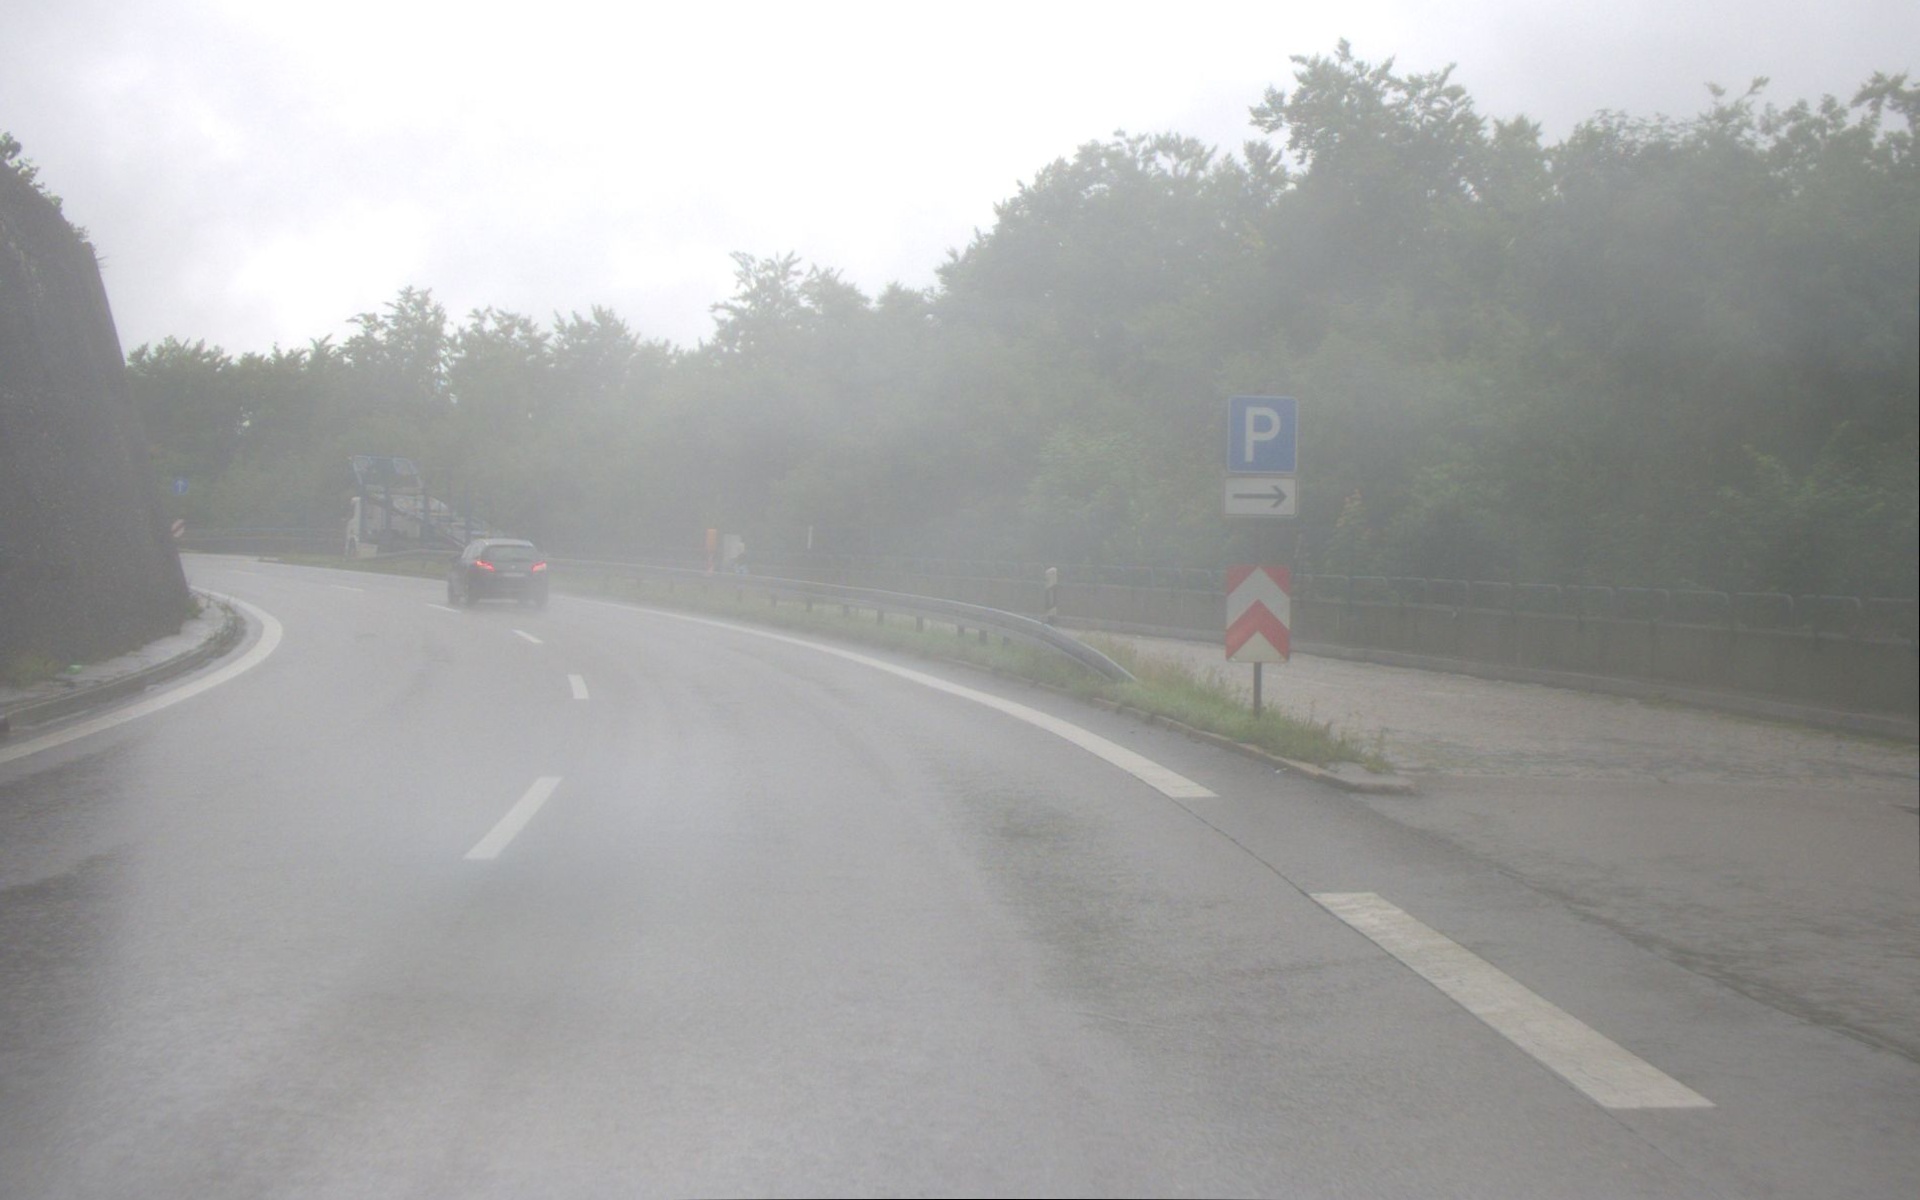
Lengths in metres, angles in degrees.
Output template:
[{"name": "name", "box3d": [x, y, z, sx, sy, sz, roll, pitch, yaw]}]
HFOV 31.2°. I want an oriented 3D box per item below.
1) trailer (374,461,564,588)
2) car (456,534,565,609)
[{"name": "trailer", "box3d": [-17.830, -2.770, 123.573, 2.891, 4.230, 14.701, 1, 1, -23]}, {"name": "car", "box3d": [-9.965, -0.650, 76.001, 1.903, 1.494, 4.001, 3, 1, -14]}]
